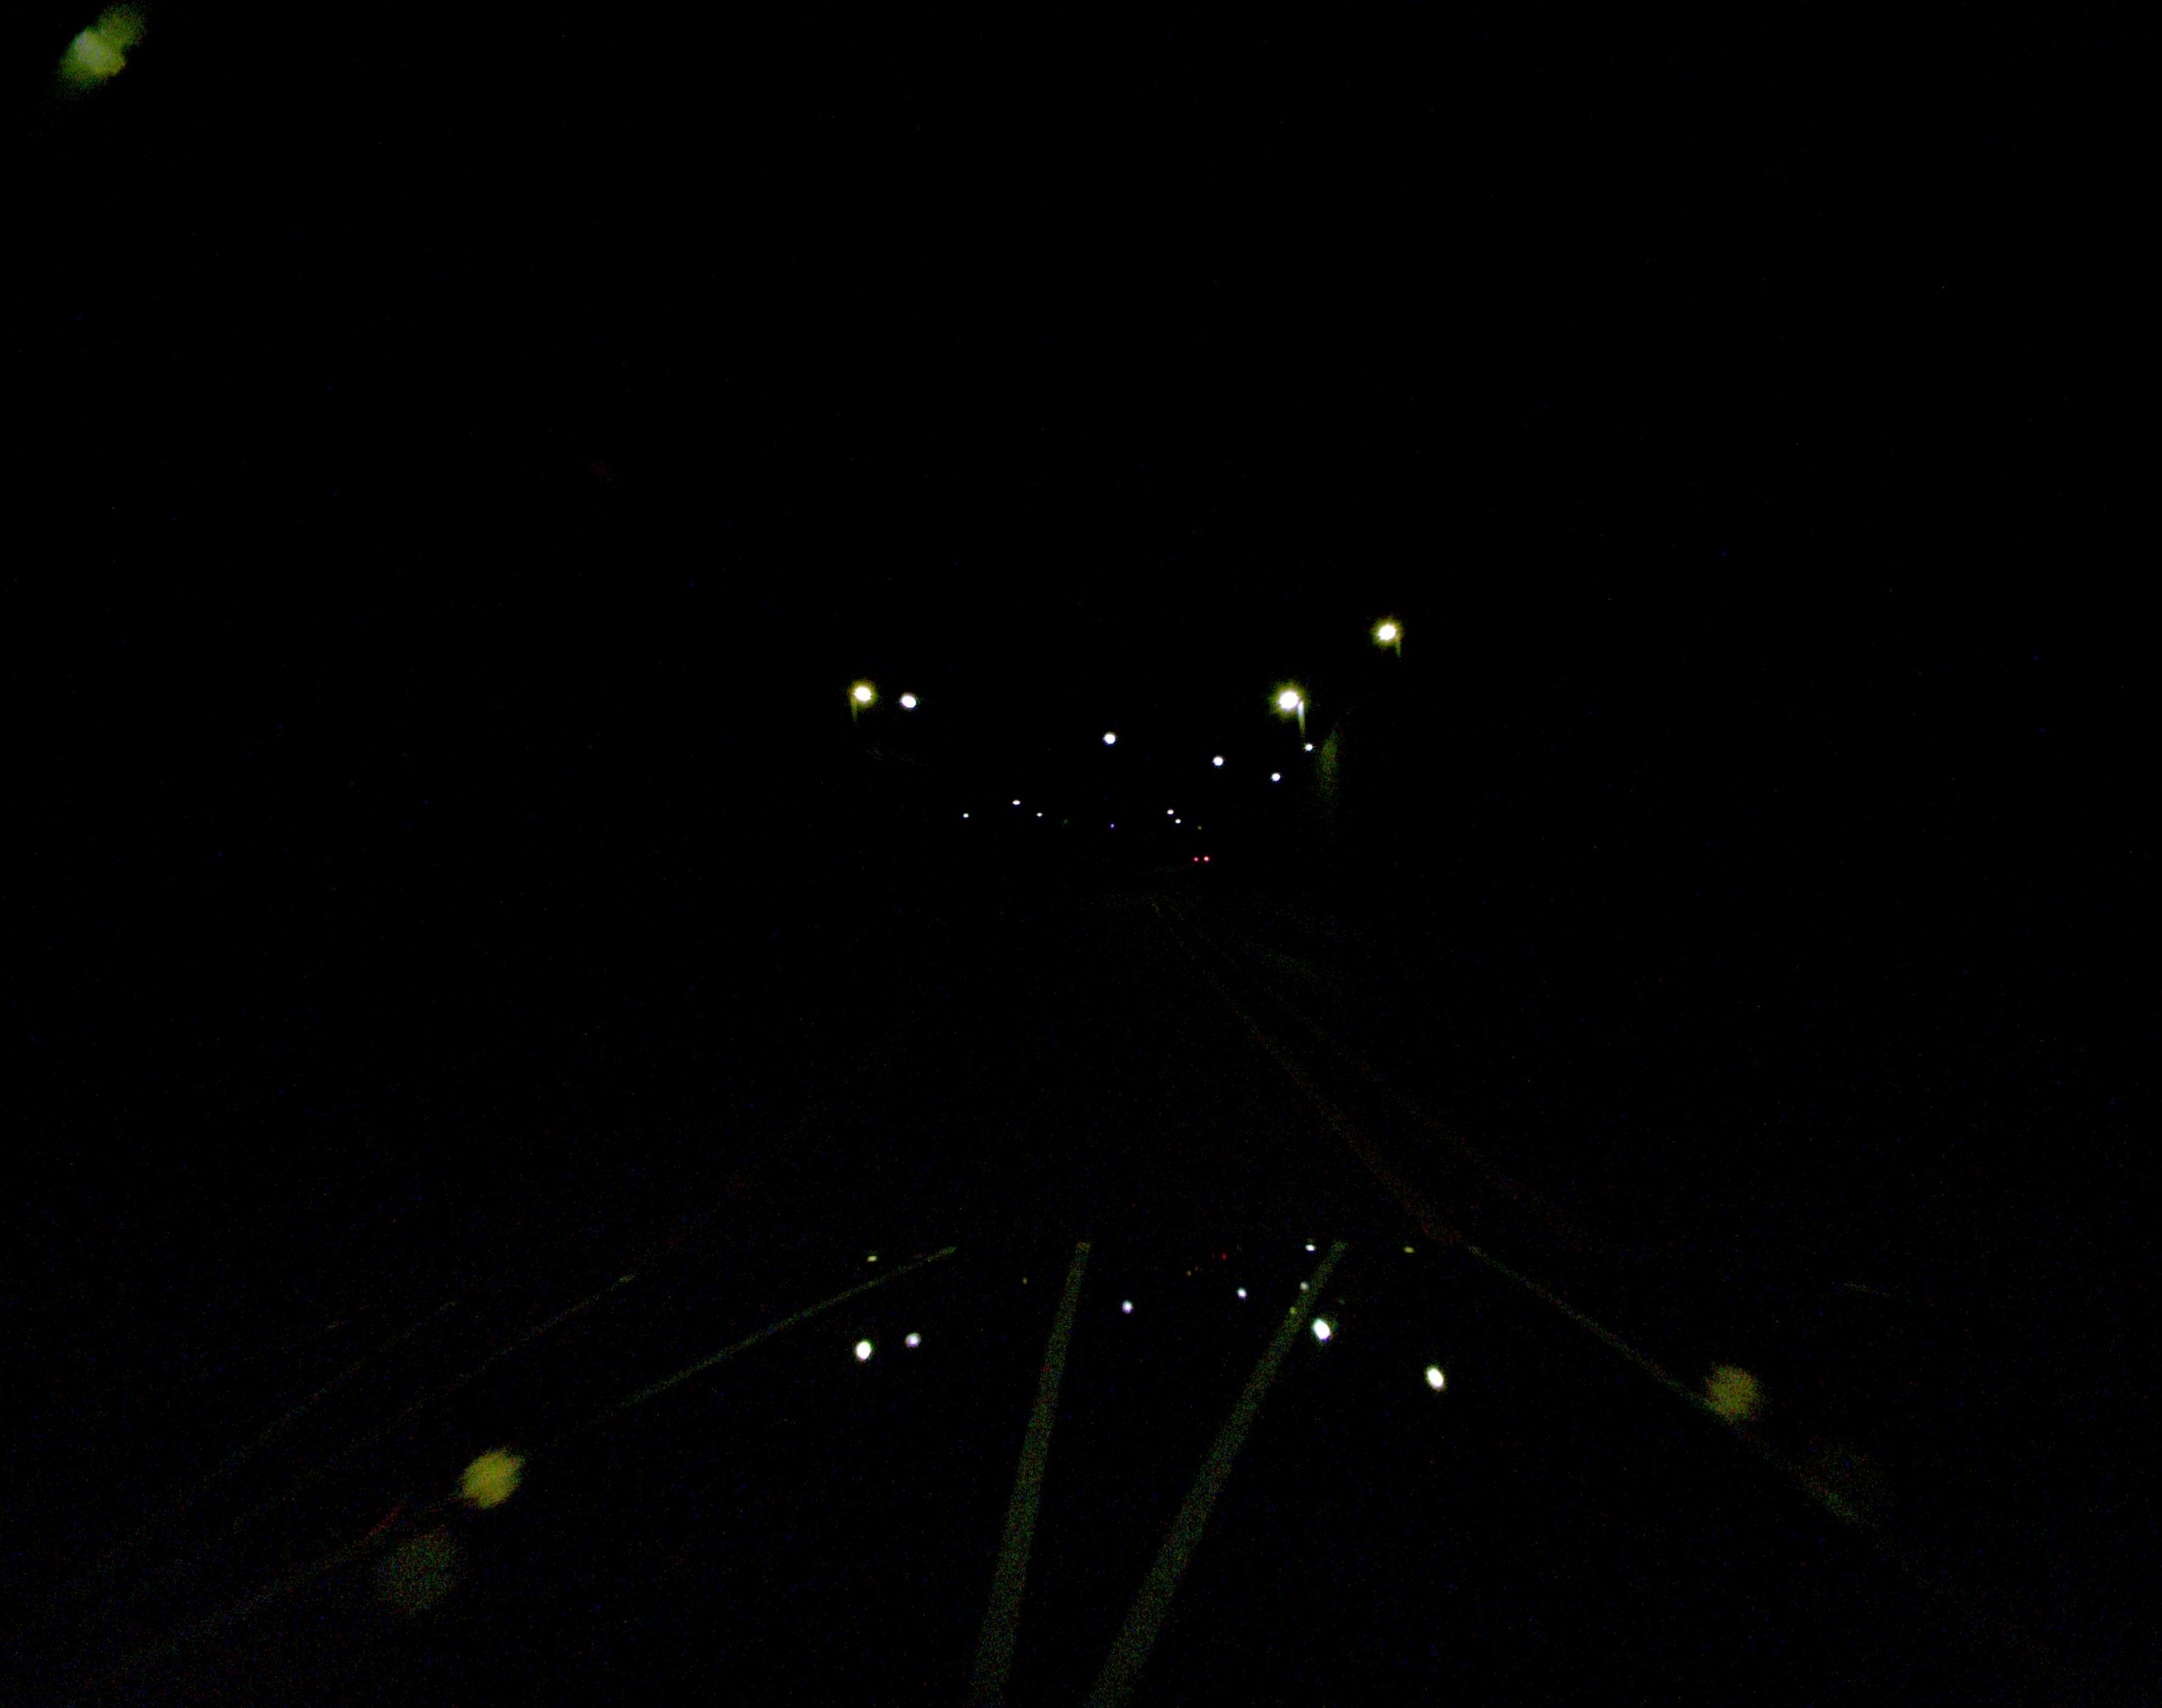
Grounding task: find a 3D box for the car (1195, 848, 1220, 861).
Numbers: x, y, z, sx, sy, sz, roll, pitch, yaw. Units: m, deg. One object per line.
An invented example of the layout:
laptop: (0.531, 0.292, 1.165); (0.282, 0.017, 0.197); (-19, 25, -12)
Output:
car: (16.241, -0.004, 97.548); (1.860, 1.501, 4.007); (-2, 1, 28)
